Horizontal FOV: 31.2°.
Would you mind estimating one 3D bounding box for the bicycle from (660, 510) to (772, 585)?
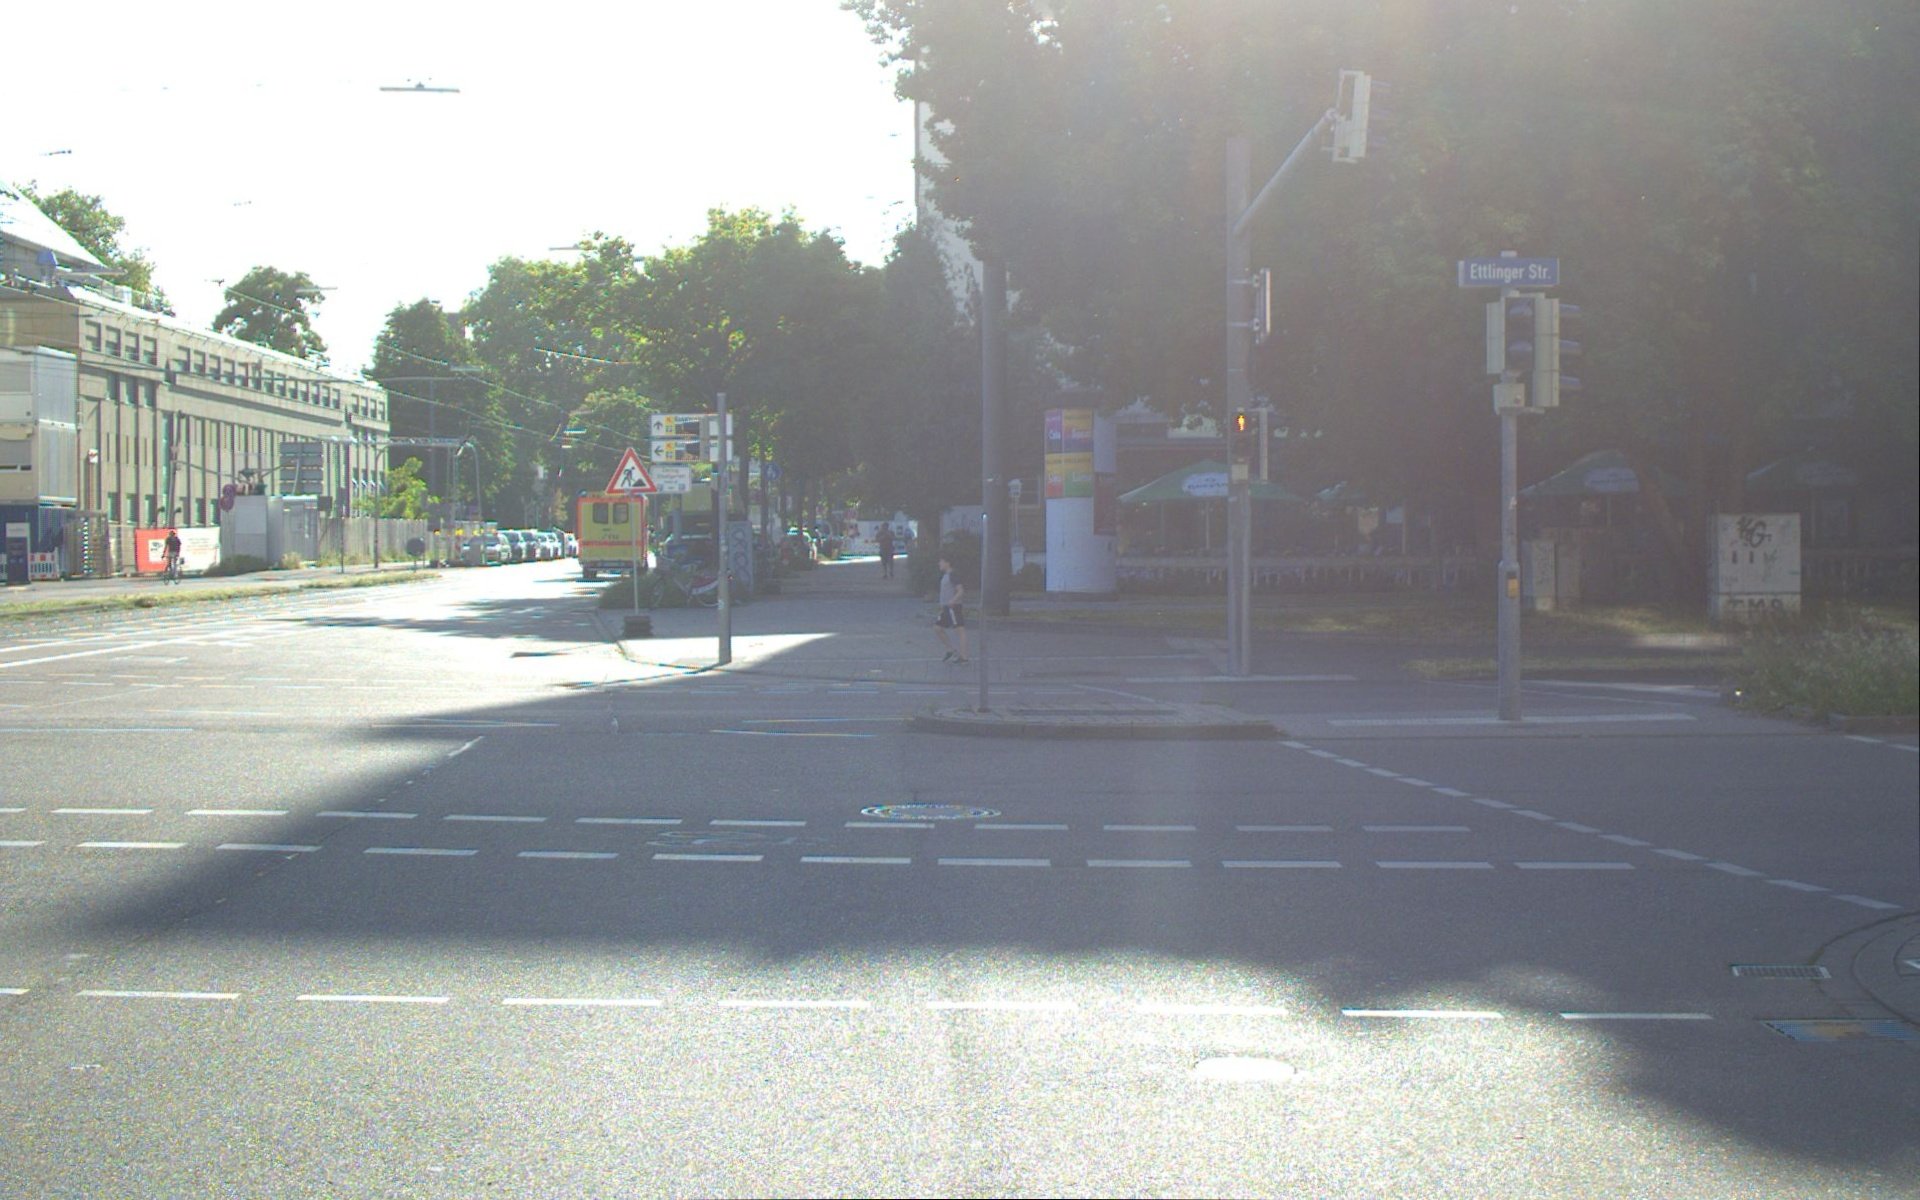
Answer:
[{"bbox_3d":[-5.768,-1.235,81.432,2.547,1.737,1.037,1,0,0],"label":"bicycle"}]

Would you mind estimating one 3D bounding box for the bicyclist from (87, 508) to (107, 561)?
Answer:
[{"bbox_3d":[-32.702,-2.480,130.208,0.571,2.017,0.762,0,1,-2],"label":"bicyclist"}]

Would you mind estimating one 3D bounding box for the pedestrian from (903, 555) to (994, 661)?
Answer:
[{"bbox_3d":[-0.145,0.091,43.580,0.766,1.313,0.995,0,1,28],"label":"pedestrian"}]

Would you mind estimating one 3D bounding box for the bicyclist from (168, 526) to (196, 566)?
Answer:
[{"bbox_3d":[-25.804,-1.792,114.065,0.689,1.323,1.000,1,0,-1],"label":"bicyclist"}]

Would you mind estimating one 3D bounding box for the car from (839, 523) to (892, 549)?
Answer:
[{"bbox_3d":[-5.859,-3.960,213.423,3.214,1.583,1.446,1,0,-4],"label":"car"}]

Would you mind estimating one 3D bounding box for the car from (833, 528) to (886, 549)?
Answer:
[{"bbox_3d":[-6.184,-3.782,211.160,3.217,1.259,1.373,1,0,-1],"label":"car"}]

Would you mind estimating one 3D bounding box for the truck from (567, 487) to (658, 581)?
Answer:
[{"bbox_3d":[-11.362,-2.161,112.953,2.716,3.005,6.490,0,1,-3],"label":"truck"}]

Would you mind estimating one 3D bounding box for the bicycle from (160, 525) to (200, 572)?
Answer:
[{"bbox_3d":[-25.852,-1.697,113.996,0.689,1.506,2.945,1,1,-1],"label":"bicycle"}]

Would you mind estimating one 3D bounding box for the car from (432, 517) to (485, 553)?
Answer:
[{"bbox_3d":[-22.790,-2.952,156.297,1.894,1.601,4.501,-1,1,-2],"label":"car"}]

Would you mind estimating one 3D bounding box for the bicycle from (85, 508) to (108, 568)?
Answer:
[{"bbox_3d":[-32.706,-2.346,130.218,0.571,2.288,1.422,0,1,-2],"label":"bicycle"}]
